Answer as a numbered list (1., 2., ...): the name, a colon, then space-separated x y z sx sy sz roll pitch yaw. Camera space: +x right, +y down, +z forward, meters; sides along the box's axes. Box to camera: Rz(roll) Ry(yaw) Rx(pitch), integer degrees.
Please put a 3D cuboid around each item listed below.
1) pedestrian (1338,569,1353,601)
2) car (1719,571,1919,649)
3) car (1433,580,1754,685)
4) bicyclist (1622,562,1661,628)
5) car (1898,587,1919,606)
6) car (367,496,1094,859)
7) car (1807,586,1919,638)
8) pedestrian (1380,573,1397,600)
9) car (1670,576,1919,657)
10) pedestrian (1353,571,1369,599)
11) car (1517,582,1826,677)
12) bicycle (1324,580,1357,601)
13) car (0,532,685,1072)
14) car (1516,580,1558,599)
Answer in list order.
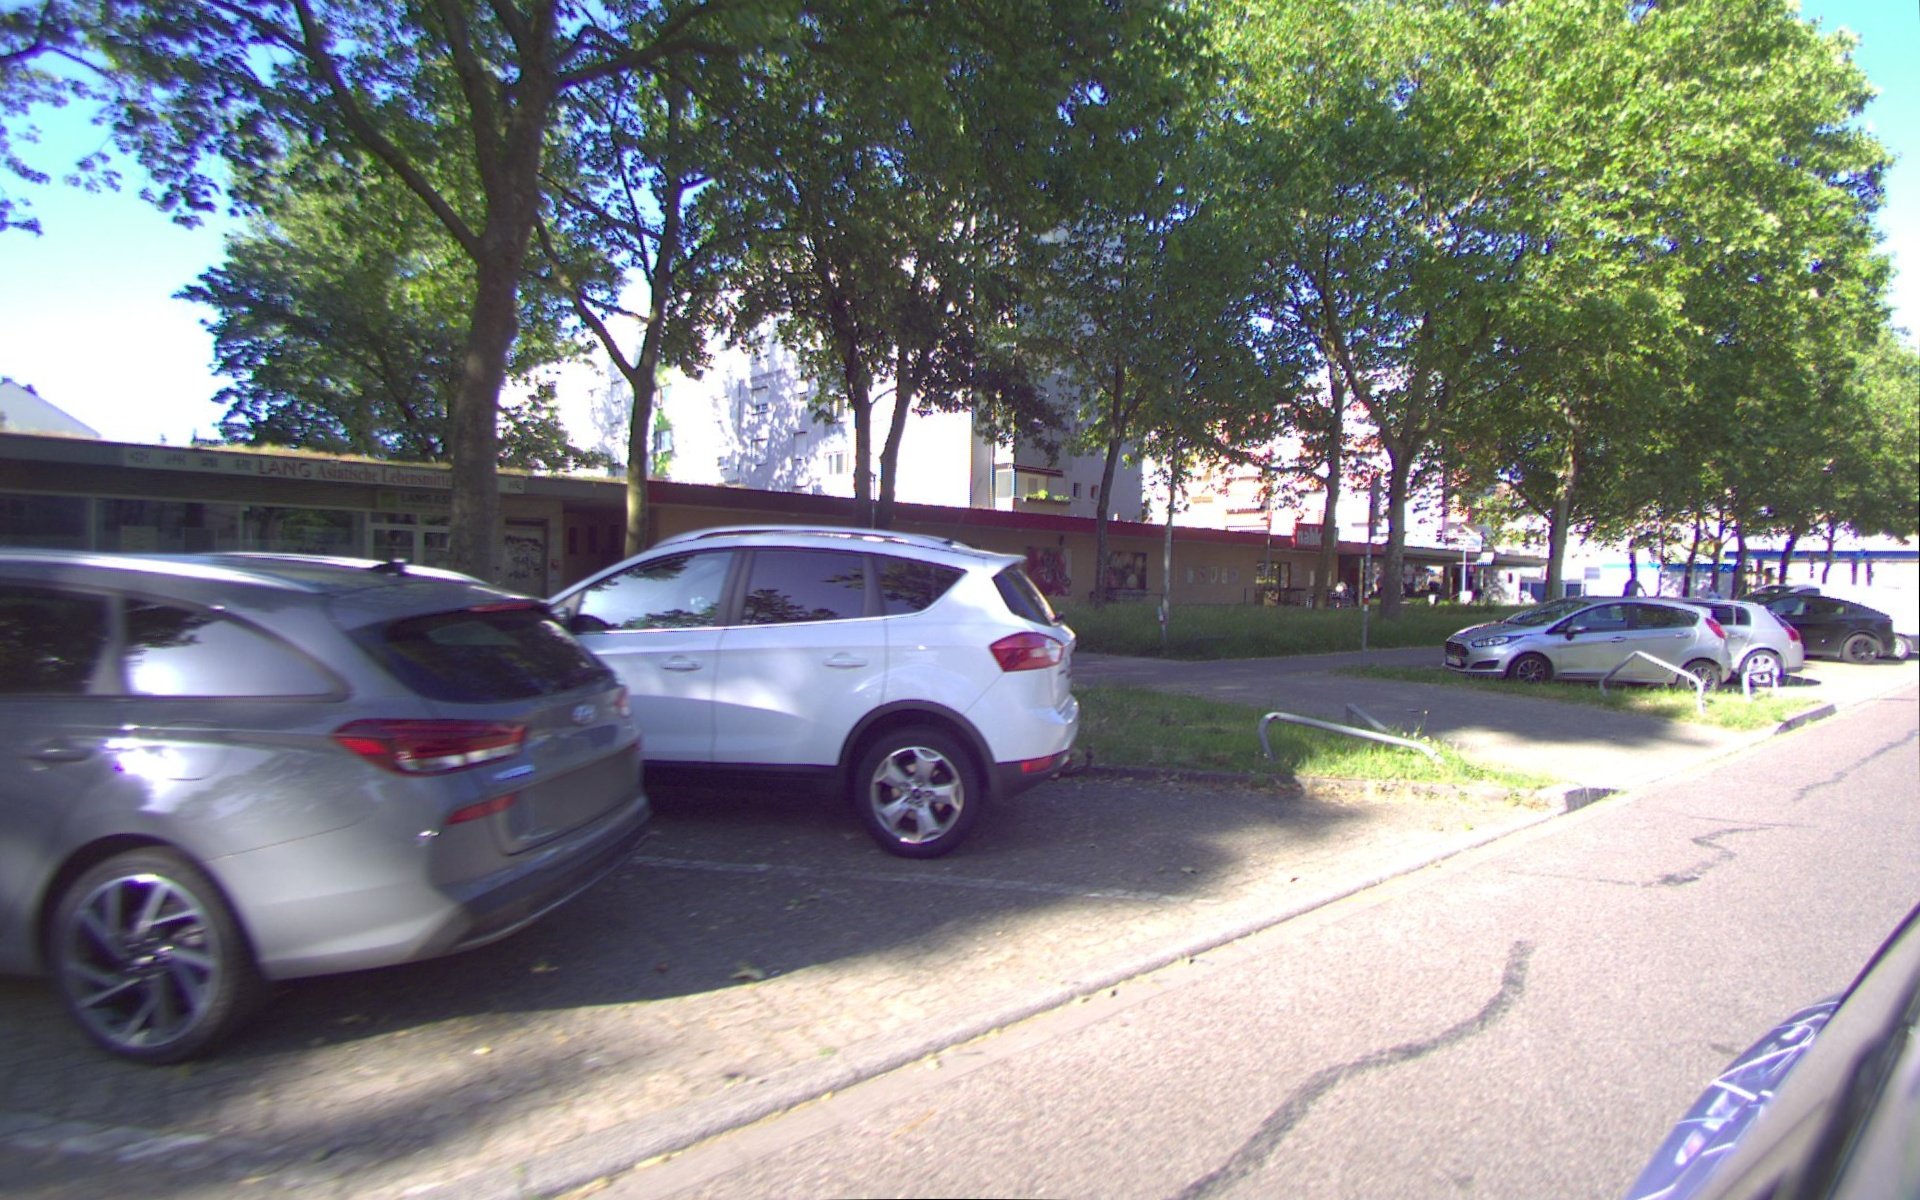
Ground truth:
1. pedestrian: 20.762 -0.807 54.500 0.495 1.721 0.704 2 0 44
2. car: 23.330 0.240 26.931 4.596 1.875 1.826 2 2 10
3. car: 9.682 0.454 15.706 3.868 1.390 1.587 2 2 4
4. bicyclist: 18.637 -0.146 27.675 1.005 1.762 0.624 0 1 -40
5. car: 76.682 -0.304 81.403 1.721 1.481 3.941 2 2 44
6. car: -1.218 0.323 6.192 3.962 1.726 1.757 2 2 9
7. car: 30.871 0.424 33.448 3.948 1.487 1.750 4 3 19
8. pedestrian: 25.324 -0.795 59.791 0.671 1.604 0.704 2 0 44
9. car: 20.129 0.352 24.475 4.429 1.726 1.757 2 2 9
10. pedestrian: 21.631 -0.804 54.617 0.531 1.448 0.704 2 0 44
11. car: 12.549 0.484 18.084 4.113 1.429 1.718 2 2 7
12. bicycle: 22.293 -0.566 59.270 1.812 1.194 0.600 0 0 -19
13. car: -3.165 0.502 3.891 3.722 1.488 1.649 2 2 7
14. car: 48.370 -0.872 84.835 4.043 1.522 1.872 0 2 -42
